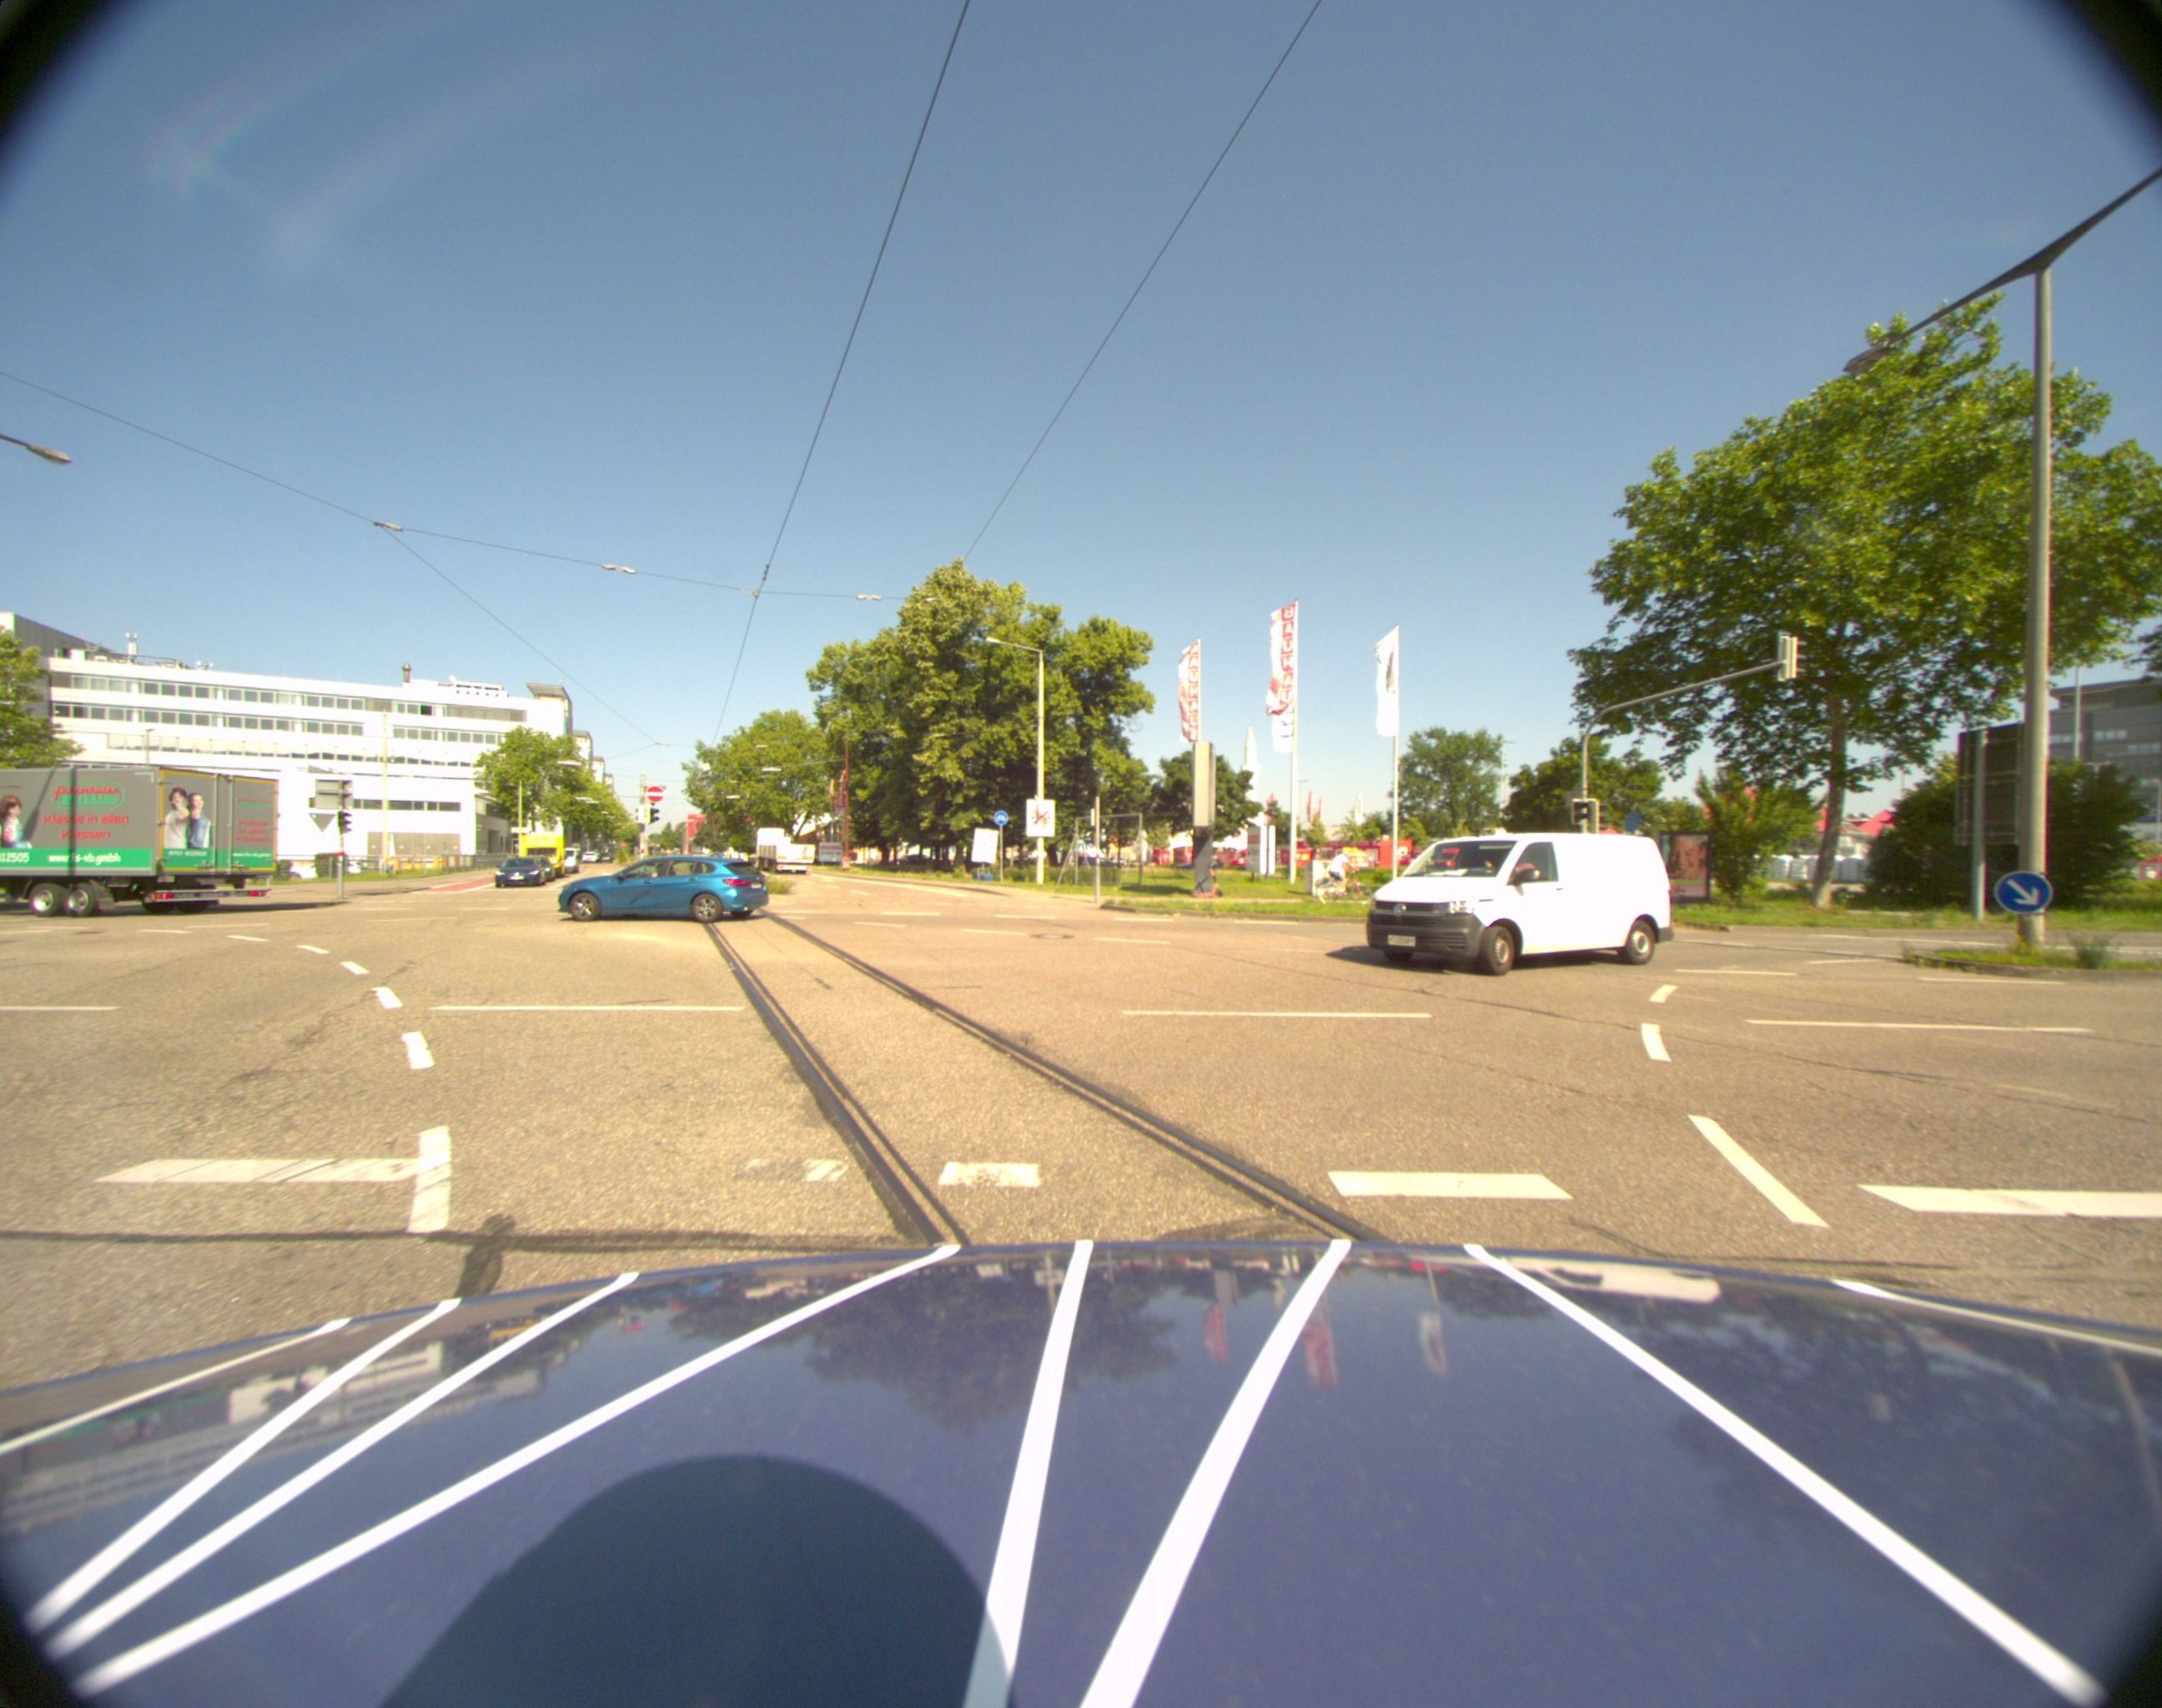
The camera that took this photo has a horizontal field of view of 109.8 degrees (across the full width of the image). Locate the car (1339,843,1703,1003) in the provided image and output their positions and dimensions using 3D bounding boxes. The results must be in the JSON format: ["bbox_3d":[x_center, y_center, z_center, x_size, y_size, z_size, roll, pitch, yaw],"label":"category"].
[{"bbox_3d":[6.449,0.848,11.153,4.979,1.982,1.884,0,1,-21],"label":"car"}]

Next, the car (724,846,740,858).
[{"bbox_3d":[-54.286,-0.253,118.117,2.003,1.740,3.991,-3,1,-29],"label":"car"}]

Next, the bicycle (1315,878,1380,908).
[{"bbox_3d":[8.508,1.239,24.284,1.874,0.917,0.547,0,1,9],"label":"bicycle"}]

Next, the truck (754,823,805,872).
[{"bbox_3d":[-26.321,-0.527,66.184,2.946,3.967,8.135,-3,1,-29],"label":"truck"}]

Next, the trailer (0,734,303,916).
[{"bbox_3d":[-25.688,-0.620,19.954,7.792,4.202,2.941,-2,1,6],"label":"trailer"}]

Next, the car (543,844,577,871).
[{"bbox_3d":[-39.749,0.258,58.063,2.004,2.002,3.989,0,1,-33],"label":"car"}]

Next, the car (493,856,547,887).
[{"bbox_3d":[-27.101,0.796,36.787,1.827,1.346,3.989,0,1,-33],"label":"car"}]

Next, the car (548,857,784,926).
[{"bbox_3d":[-9.183,0.795,17.080,4.192,1.424,2.000,0,1,2],"label":"car"}]

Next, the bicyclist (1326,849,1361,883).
[{"bbox_3d":[8.404,0.381,24.356,0.950,1.078,0.893,0,1,10],"label":"bicyclist"}]

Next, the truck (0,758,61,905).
[{"bbox_3d":[-33.869,-0.441,20.794,8.642,4.021,2.941,-2,1,6],"label":"truck"}]

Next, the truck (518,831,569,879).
[{"bbox_3d":[-34.654,0.055,49.108,2.415,2.846,5.790,-3,1,-34],"label":"truck"}]

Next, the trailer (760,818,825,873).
[{"bbox_3d":[-23.072,-0.583,60.309,2.946,3.939,12.112,-3,1,-29],"label":"trailer"}]
